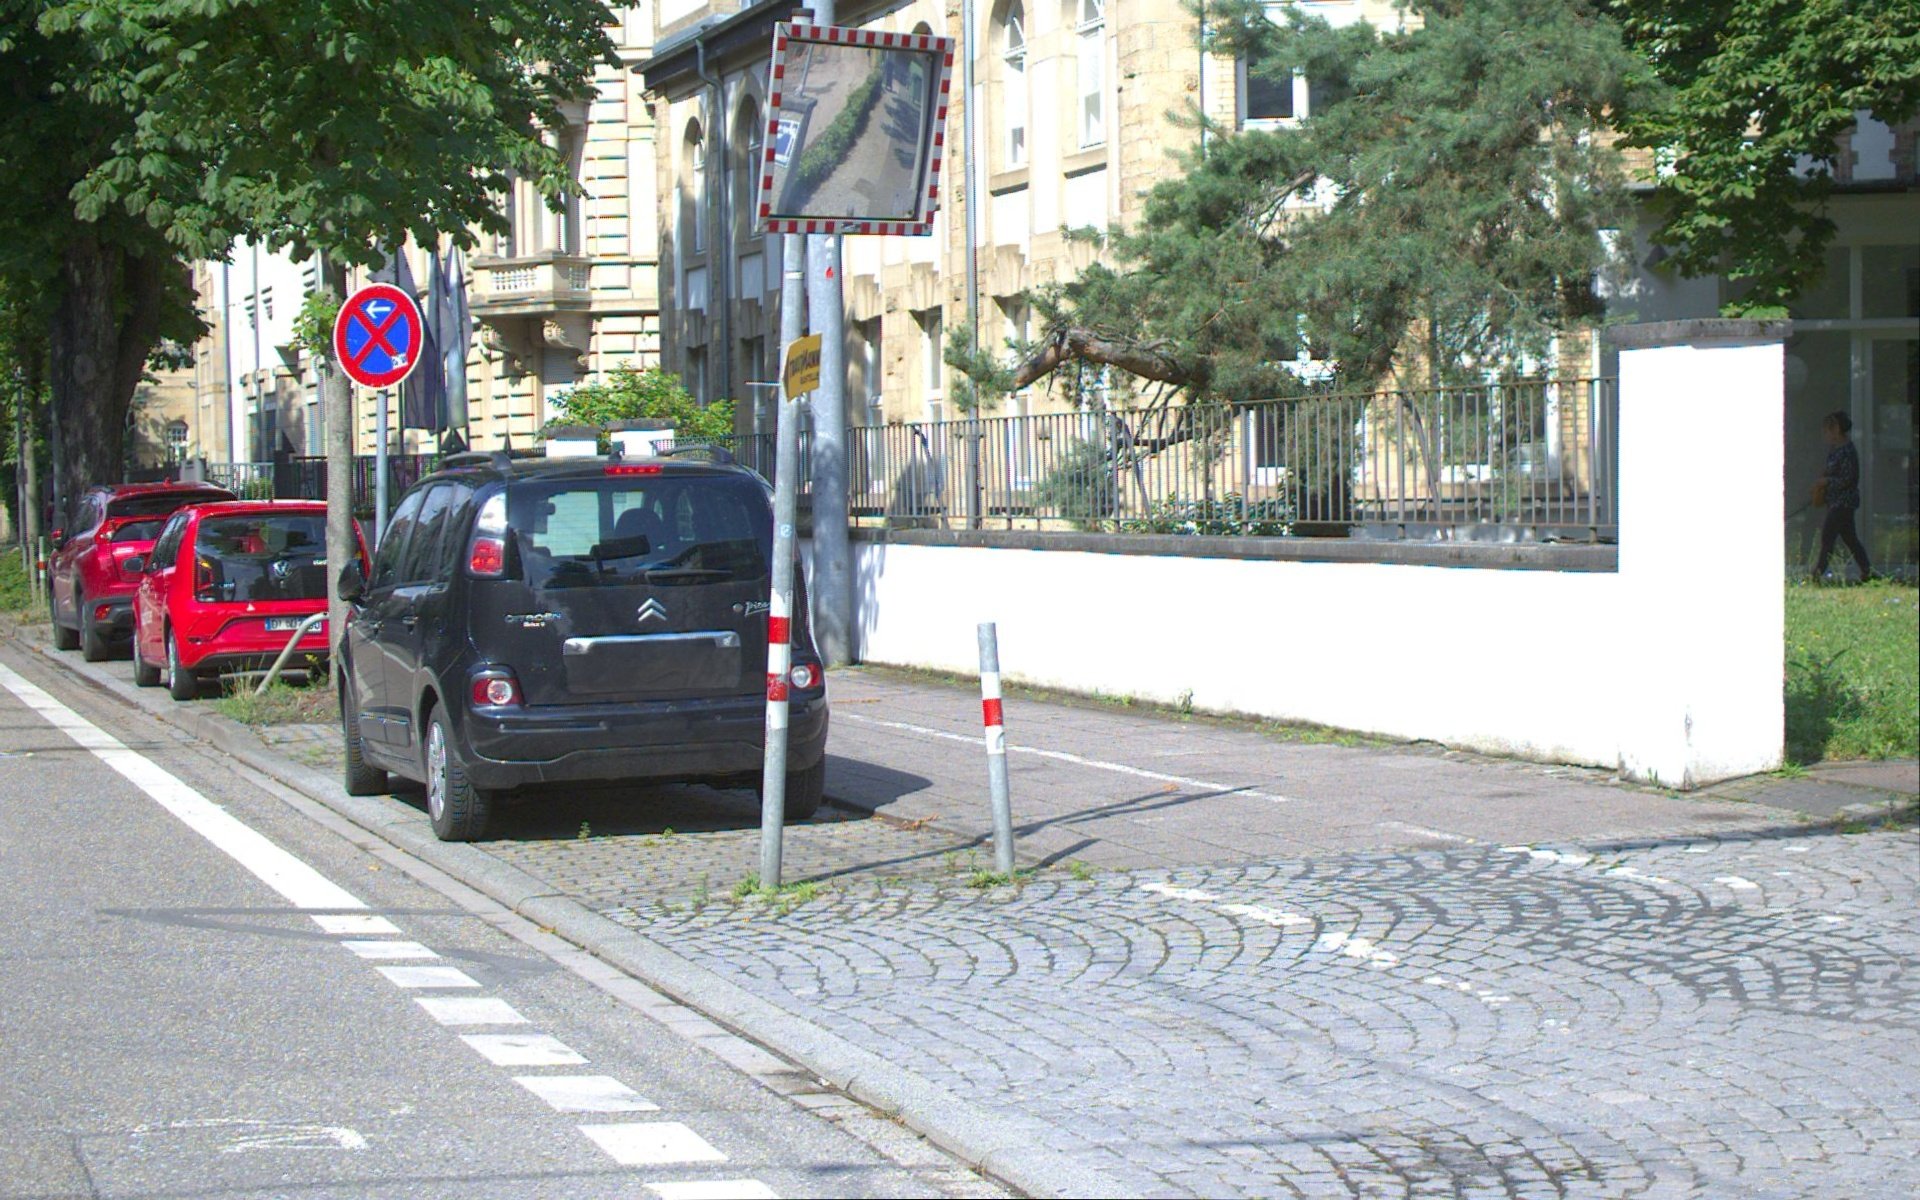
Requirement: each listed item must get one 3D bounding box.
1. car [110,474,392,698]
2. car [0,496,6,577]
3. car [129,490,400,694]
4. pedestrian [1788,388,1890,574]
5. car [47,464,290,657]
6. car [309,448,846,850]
[{"bbox_3d":[-5.580,-0.149,26.774,1.673,1.606,3.586,-1,2,-19],"label":"car"},{"bbox_3d":[-21.381,-1.375,73.526,1.621,1.678,3.566,2,0,-19],"label":"car"},{"bbox_3d":[-5.454,-0.077,26.713,1.666,1.481,3.280,0,1,-19],"label":"car"},{"bbox_3d":[8.147,-1.093,31.892,0.770,1.672,0.808,2,0,8],"label":"pedestrian"},{"bbox_3d":[-7.794,-0.378,33.608,1.959,1.700,4.001,2,0,-17],"label":"car"},{"bbox_3d":[-1.857,0.136,15.713,1.673,1.606,3.586,-1,2,-19],"label":"car"}]
